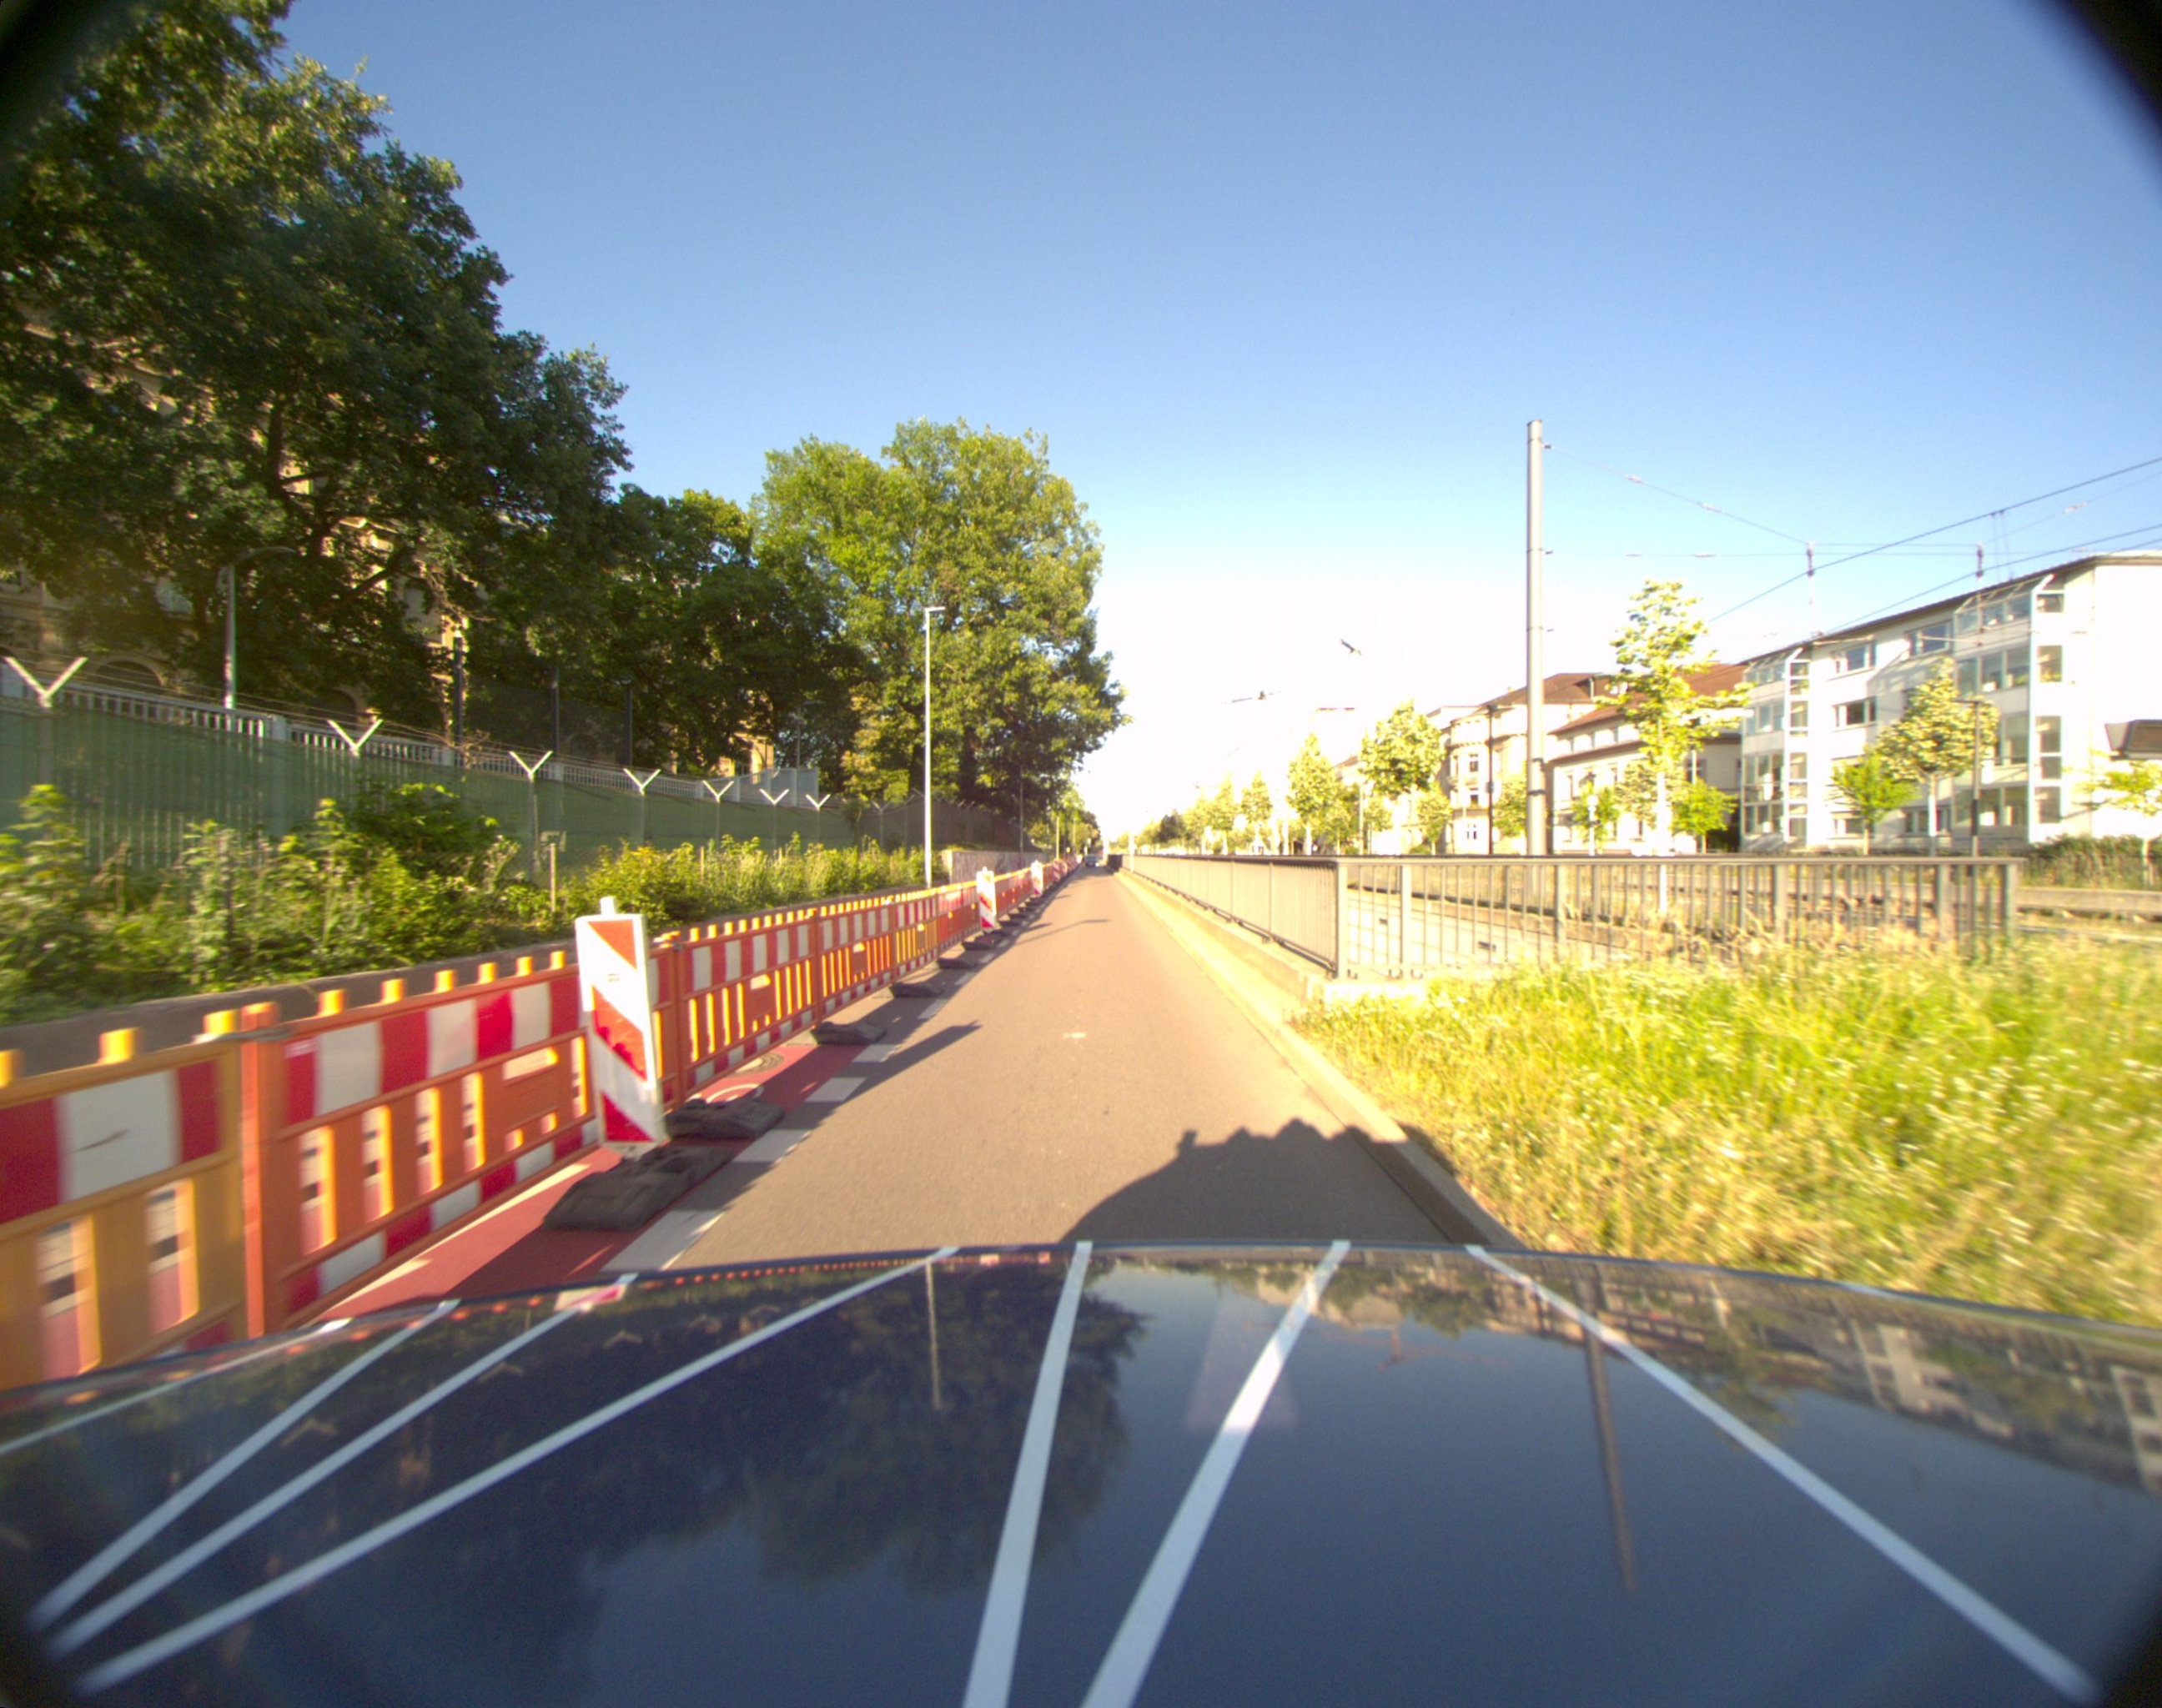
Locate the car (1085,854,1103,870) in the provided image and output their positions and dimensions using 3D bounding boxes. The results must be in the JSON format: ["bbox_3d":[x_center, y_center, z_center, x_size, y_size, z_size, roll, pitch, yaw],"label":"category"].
[{"bbox_3d":[1.547,0.886,88.224,2.080,1.827,4.000,0,0,1],"label":"car"}]
